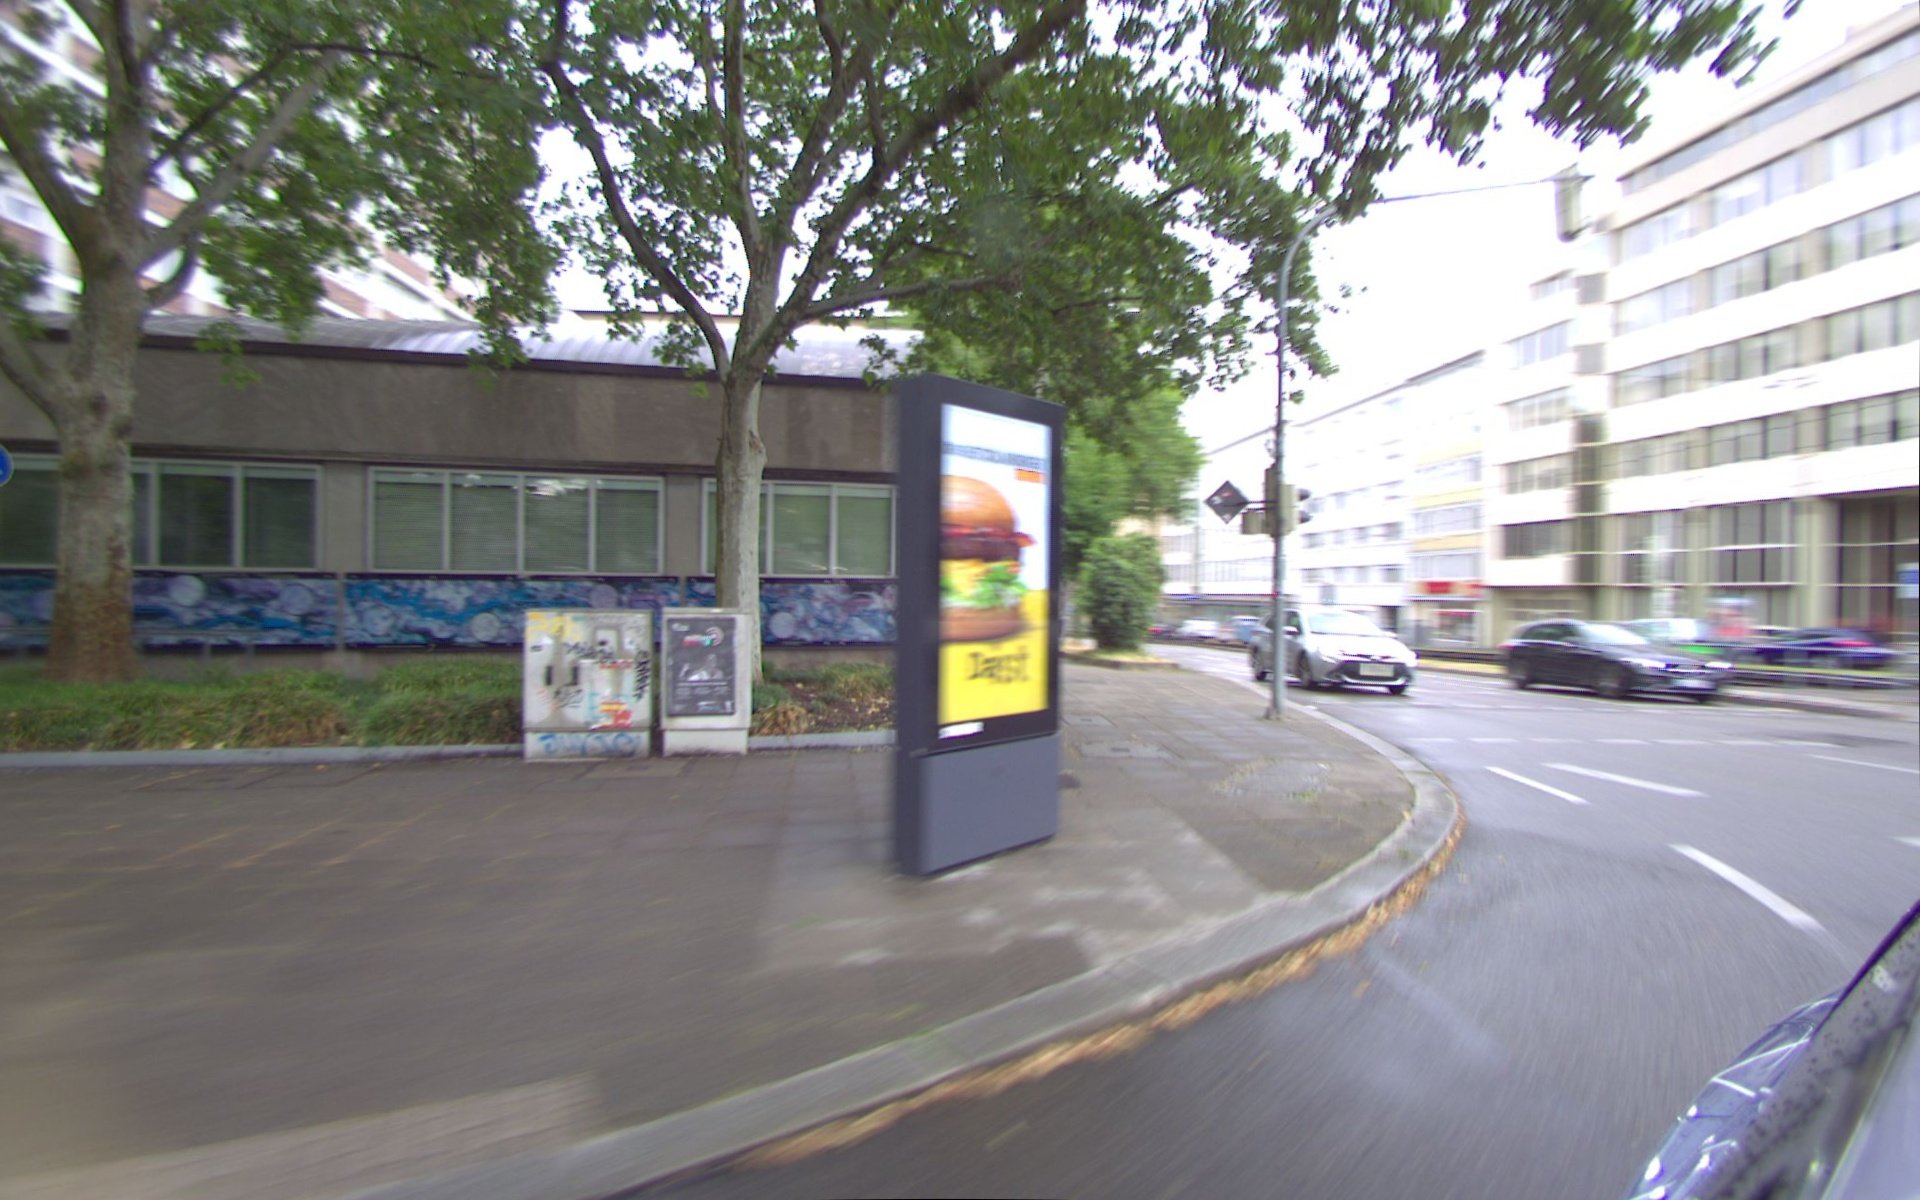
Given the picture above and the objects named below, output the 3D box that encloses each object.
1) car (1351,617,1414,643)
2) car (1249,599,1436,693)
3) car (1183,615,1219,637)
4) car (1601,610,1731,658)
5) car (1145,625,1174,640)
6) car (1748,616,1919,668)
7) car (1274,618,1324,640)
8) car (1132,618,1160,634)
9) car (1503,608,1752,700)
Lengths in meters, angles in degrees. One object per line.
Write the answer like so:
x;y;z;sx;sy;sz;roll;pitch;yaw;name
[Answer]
25.832;1.803;61.978;1.765;1.533;4.082;0;-1;-6;car
6.753;0.771;18.398;1.779;1.453;4.295;2;-1;1;car
22.852;2.446;96.078;1.852;1.960;4.482;0;-1;-6;car
27.672;1.293;39.844;1.765;1.768;4.222;0;-1;-7;car
19.066;3.077;96.784;1.600;1.374;3.875;0;-1;-6;car
28.244;1.305;32.833;1.765;1.496;4.220;2;-1;-5;car
24.574;2.082;73.517;1.852;1.533;4.082;0;-1;-6;car
21.168;2.948;115.256;1.852;1.645;4.482;0;-1;-6;car
12.361;0.932;19.151;1.768;1.461;4.473;2;-1;1;car
